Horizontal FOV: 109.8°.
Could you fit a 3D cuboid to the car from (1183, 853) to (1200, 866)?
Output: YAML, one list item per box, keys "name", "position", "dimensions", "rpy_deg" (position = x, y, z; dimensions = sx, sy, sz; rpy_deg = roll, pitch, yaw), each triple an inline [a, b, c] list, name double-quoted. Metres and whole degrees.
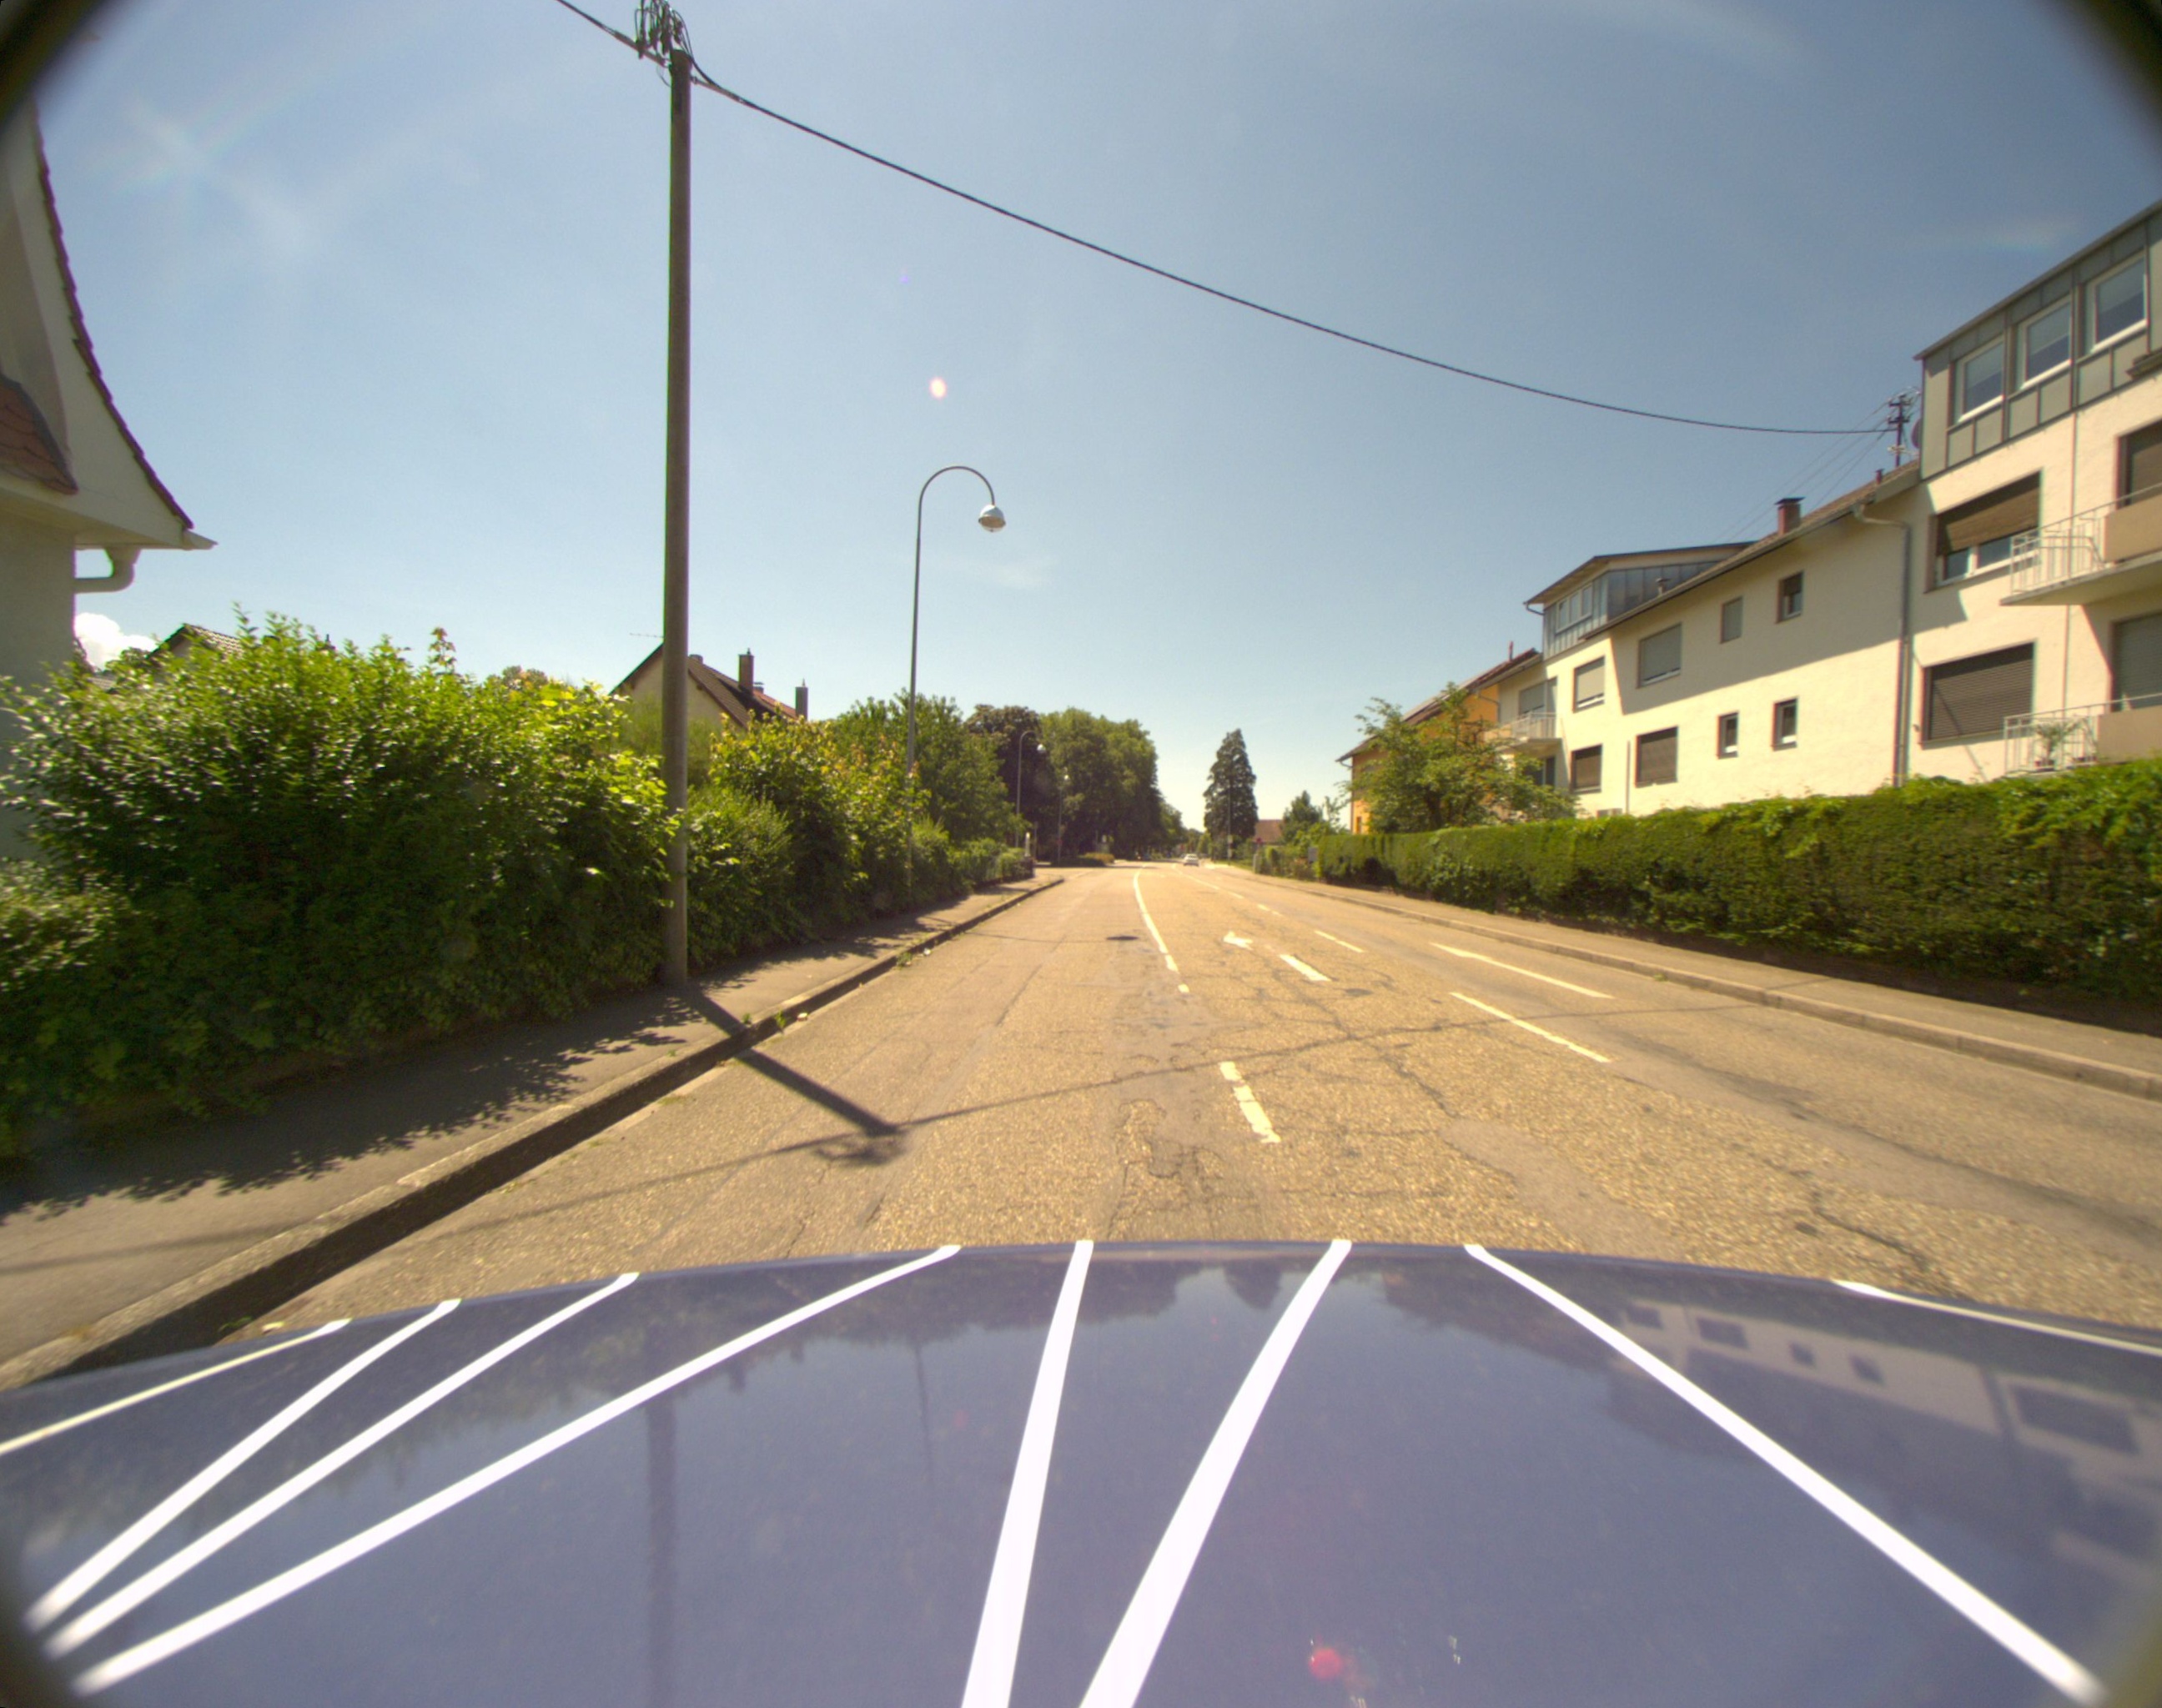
- name: "car"
  position: [13.231, 0.629, 91.085]
  dimensions: [1.684, 1.364, 4.207]
  rpy_deg: [3, 0, 4]

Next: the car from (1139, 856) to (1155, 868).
- name: "car"
  position: [9.901, 1.187, 113.579]
  dimensions: [1.882, 1.623, 4.324]
  rpy_deg: [2, 1, 11]

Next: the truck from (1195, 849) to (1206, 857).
- name: "truck"
  position: [34.641, -0.394, 220.513]
  dimensions: [2.620, 2.228, 6.264]
  rpy_deg: [2, 0, 13]
